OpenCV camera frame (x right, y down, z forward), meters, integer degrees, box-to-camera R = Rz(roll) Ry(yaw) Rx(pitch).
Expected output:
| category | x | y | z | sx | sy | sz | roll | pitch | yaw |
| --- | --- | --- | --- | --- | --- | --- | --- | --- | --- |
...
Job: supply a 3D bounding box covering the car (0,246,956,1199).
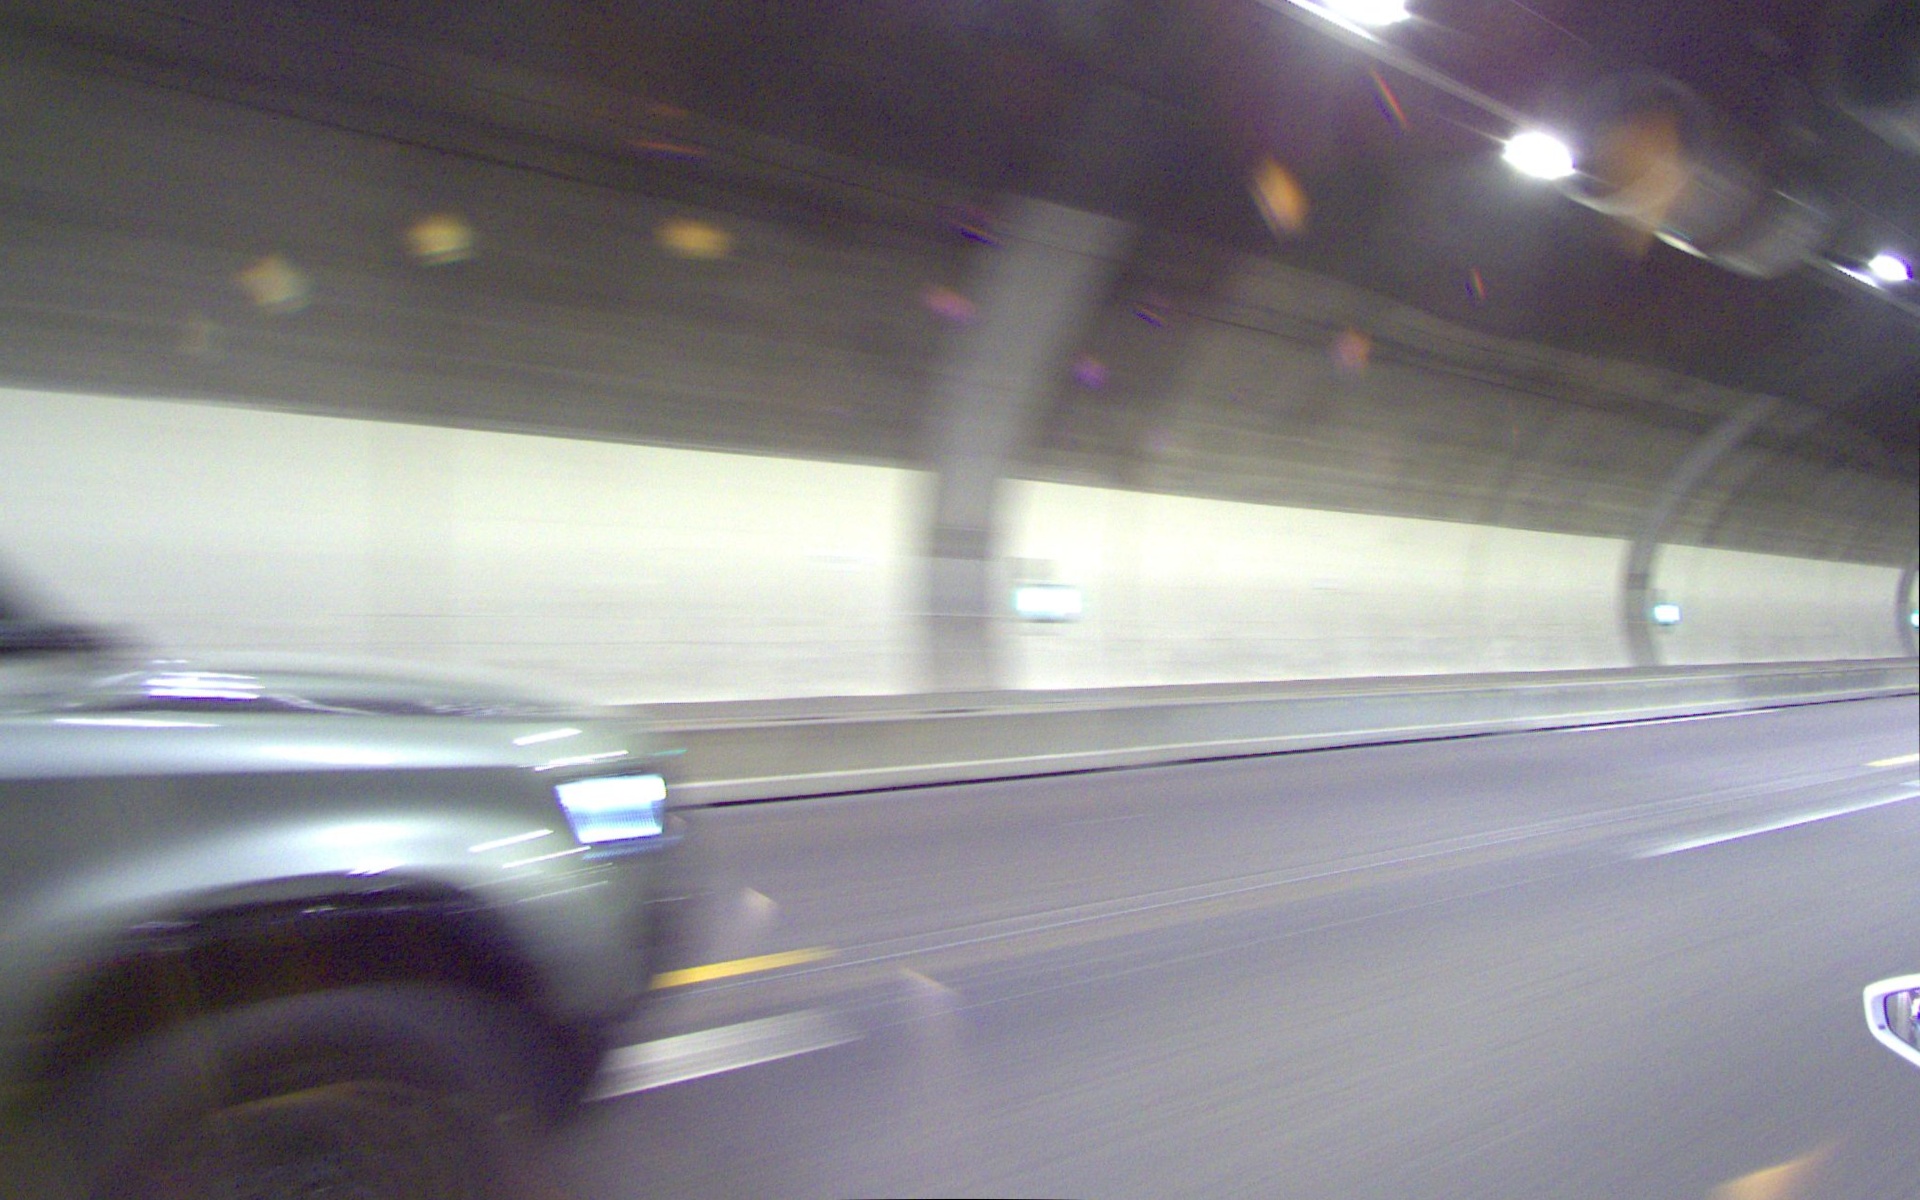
| category | x | y | z | sx | sy | sz | roll | pitch | yaw |
| --- | --- | --- | --- | --- | --- | --- | --- | --- | --- |
| car | -2.847 | 0.400 | 1.665 | 5.391 | 1.920 | 1.983 | 2 | 2 | -31 |
